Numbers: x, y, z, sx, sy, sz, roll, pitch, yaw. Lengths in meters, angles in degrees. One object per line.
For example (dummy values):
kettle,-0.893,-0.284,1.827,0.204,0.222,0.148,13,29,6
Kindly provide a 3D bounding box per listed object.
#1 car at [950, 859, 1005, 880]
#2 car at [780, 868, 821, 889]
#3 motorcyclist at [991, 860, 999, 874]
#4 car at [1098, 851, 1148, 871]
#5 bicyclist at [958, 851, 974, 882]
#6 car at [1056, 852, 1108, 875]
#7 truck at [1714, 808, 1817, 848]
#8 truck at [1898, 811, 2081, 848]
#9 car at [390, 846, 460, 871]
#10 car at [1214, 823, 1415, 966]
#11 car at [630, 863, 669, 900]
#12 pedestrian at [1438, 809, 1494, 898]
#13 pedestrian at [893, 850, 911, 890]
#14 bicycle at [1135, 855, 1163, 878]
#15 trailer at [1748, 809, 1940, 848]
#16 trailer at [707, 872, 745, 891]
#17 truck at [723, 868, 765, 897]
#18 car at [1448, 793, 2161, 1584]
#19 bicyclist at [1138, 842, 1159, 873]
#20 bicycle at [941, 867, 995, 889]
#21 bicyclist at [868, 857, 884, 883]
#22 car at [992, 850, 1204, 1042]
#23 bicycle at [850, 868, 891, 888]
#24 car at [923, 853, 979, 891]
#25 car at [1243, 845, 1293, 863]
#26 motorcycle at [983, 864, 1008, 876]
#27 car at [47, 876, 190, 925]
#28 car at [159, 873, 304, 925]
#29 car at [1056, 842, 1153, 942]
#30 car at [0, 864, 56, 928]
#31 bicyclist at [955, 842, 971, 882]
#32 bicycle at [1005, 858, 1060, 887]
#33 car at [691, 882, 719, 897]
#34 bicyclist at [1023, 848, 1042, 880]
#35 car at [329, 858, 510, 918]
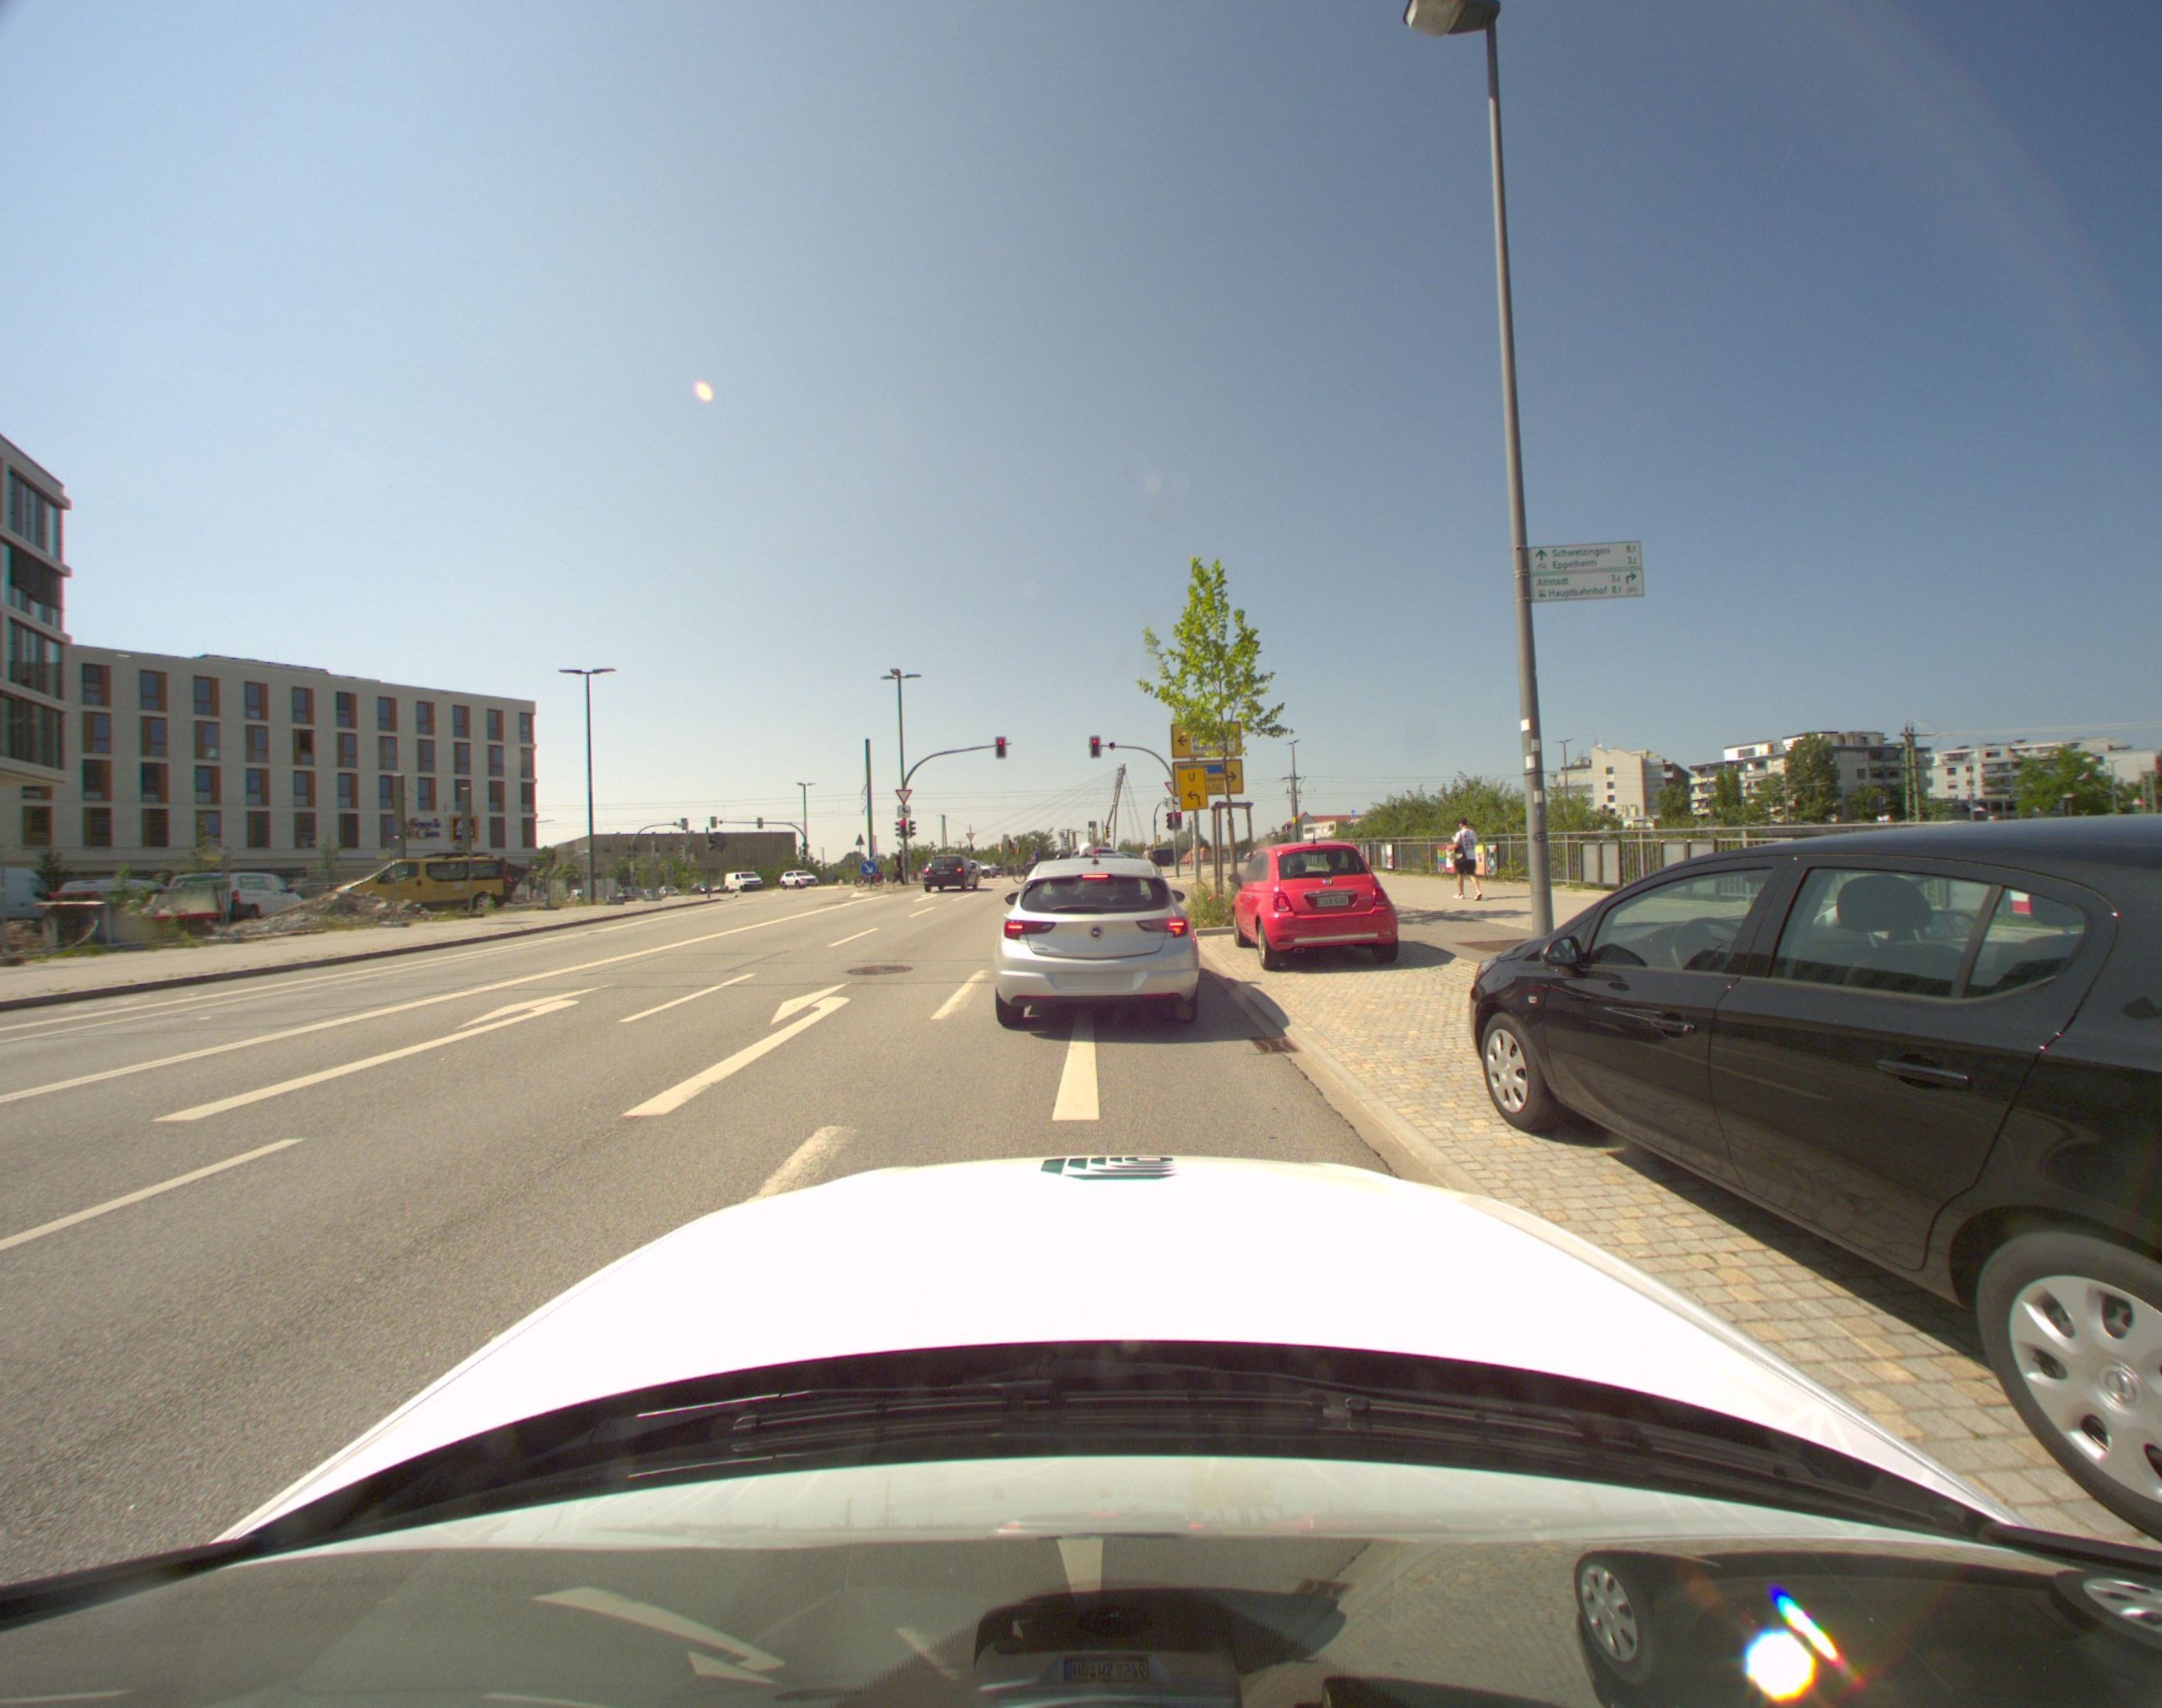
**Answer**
car,-8.183,1.224,64.763,3.952,1.551,1.679,-2,-1,8
car,-25.663,2.226,74.505,3.995,1.815,1.943,-1,-1,44
motorcyclist,-8.970,1.342,84.946,0.806,1.476,0.885,0,-1,2
car,3.254,0.556,64.161,3.781,1.362,1.531,-2,0,-3
bicyclist,-5.629,0.601,39.900,0.654,1.502,0.844,0,-1,3
car,0.100,0.721,61.072,3.734,1.583,1.814,-2,-1,1
truck,59.077,-2.180,70.399,6.478,3.204,3.722,0,-1,-14
truck,86.546,-2.236,77.576,17.857,3.204,3.723,0,-1,-14
car,-54.202,0.383,67.410,3.990,2.014,1.992,0,-1,-12
car,3.002,0.488,11.320,1.663,1.540,3.917,-3,-1,1
car,-24.411,1.528,46.050,1.681,2.014,3.959,0,-1,-32
pedestrian,8.095,-0.007,17.155,0.755,1.830,0.885,0,-1,1
pedestrian,-8.483,0.743,38.604,0.738,1.863,0.753,0,-1,-4
bicycle,3.467,0.618,41.264,0.669,1.127,2.378,-1,-1,23
trailer,68.129,-2.203,72.675,17.225,3.204,3.723,0,-1,-14
trailer,-34.243,2.614,78.506,2.011,1.776,4.233,1,-1,-45
truck,-31.206,2.579,75.385,2.012,2.540,4.650,0,-1,-44
car,2.937,0.628,2.957,1.576,1.555,3.548,-4,0,1
bicyclist,3.420,0.193,41.146,0.813,1.569,0.953,-1,-1,22
bicycle,-5.519,1.179,39.862,2.494,1.007,0.605,-1,-1,2
bicyclist,-12.362,0.967,49.069,0.716,1.504,0.825,-1,-1,2
car,0.184,0.747,8.705,1.684,1.520,4.272,-1,0,1
bicycle,-12.668,1.432,49.069,2.310,1.133,0.637,-1,-1,2
car,-5.118,0.712,32.439,1.581,1.395,3.340,-2,-1,1
car,17.936,-0.032,78.236,4.254,1.673,1.989,-1,-1,-16
motorcycle,-8.957,1.697,84.927,2.528,1.233,0.648,0,-1,0
car,-33.565,1.559,28.561,1.809,1.508,3.965,0,-1,-27
car,-30.973,1.573,29.915,2.003,1.707,4.526,0,-1,-22
car,0.433,0.661,15.504,1.629,1.674,3.746,0,-1,1
car,-36.174,1.373,26.378,2.220,2.056,4.133,0,-1,-28
bicyclist,-5.632,0.382,38.947,0.591,1.887,0.637,0,-1,6
bicycle,-2.353,0.884,39.905,2.513,1.134,0.729,-6,2,4
car,-38.765,3.659,83.860,1.675,1.389,3.742,0,-1,-41
bicyclist,-2.389,0.496,39.911,0.818,1.560,0.864,0,-1,5
car,-22.504,1.088,27.864,1.974,1.890,4.514,-1,-1,40
